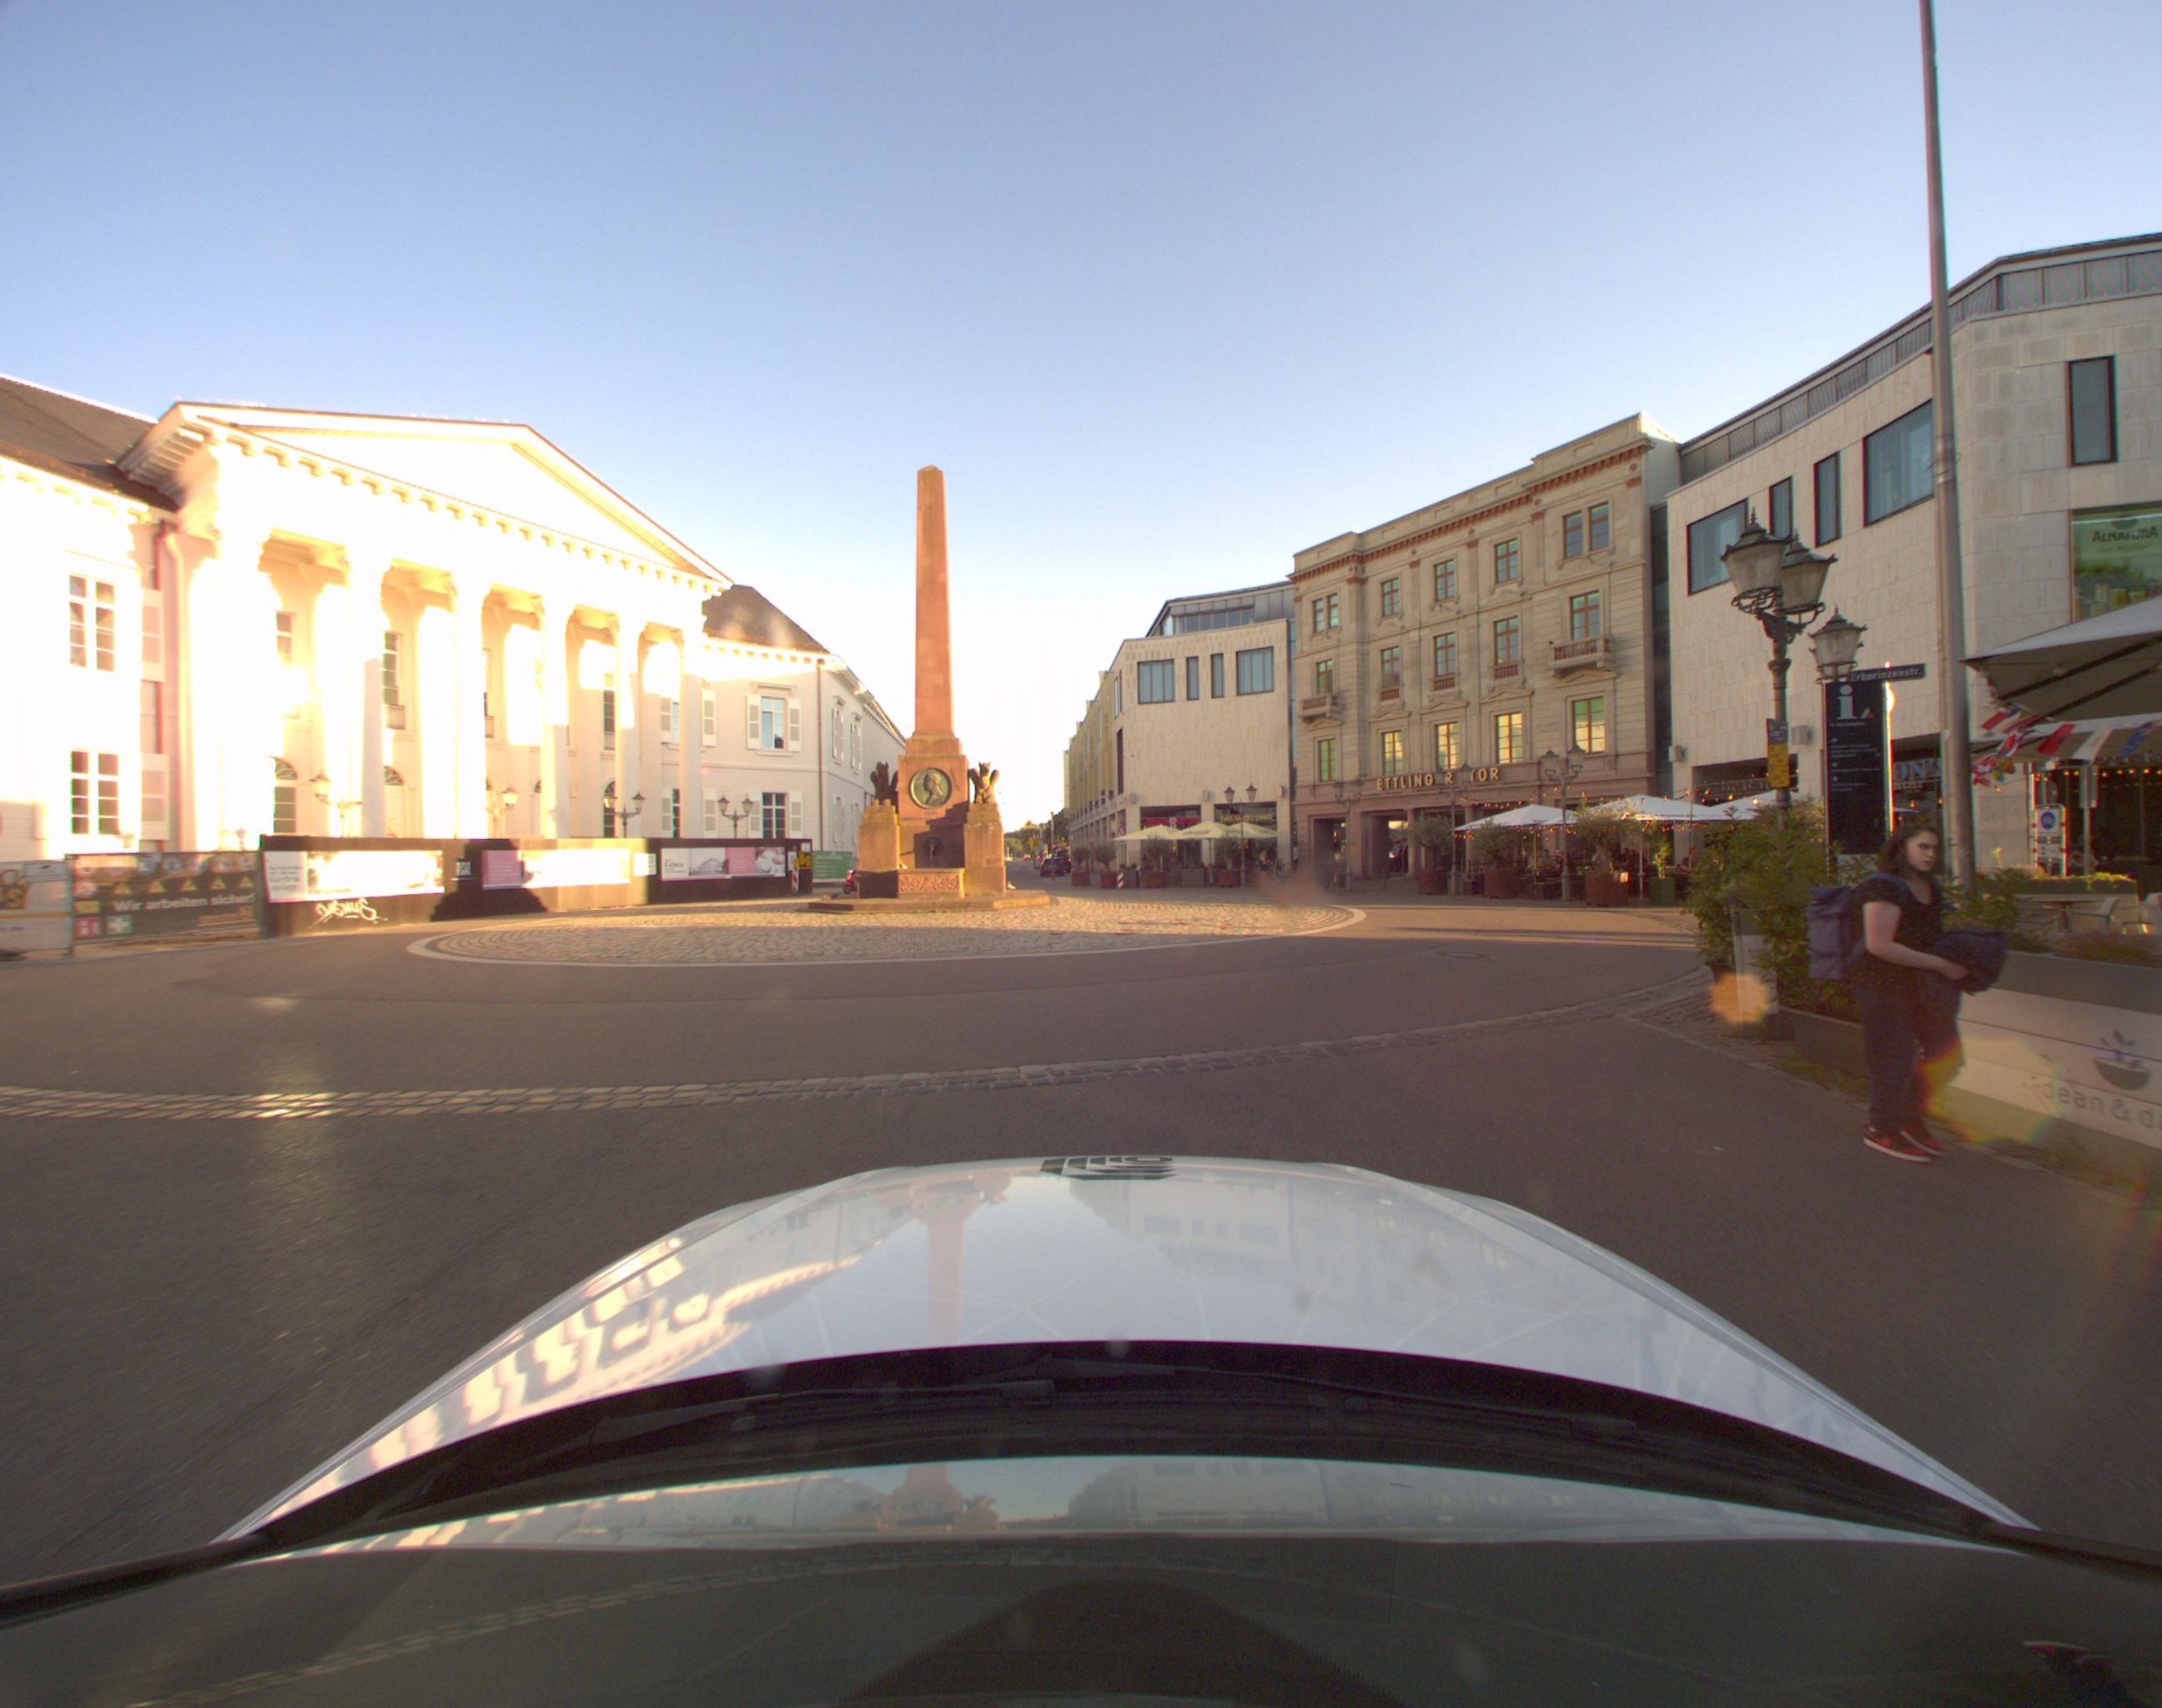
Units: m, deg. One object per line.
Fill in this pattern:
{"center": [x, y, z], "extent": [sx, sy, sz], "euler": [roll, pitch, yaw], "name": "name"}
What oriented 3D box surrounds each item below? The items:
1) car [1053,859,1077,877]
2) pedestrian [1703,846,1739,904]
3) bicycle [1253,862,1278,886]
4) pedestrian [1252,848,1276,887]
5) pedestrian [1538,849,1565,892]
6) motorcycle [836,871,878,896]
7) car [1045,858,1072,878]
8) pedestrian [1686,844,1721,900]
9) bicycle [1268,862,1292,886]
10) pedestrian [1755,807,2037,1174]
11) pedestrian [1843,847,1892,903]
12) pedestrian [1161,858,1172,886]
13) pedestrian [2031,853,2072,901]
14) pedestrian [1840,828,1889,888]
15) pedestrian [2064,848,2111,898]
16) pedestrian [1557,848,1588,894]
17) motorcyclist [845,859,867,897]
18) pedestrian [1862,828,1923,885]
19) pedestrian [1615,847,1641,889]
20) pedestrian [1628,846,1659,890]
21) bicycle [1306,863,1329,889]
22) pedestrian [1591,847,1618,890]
{"center": [-1.477, 1.241, 73.013], "extent": [1.989, 1.464, 3.996], "euler": [-1, 0, -3], "name": "car"}
{"center": [16.394, 0.530, 20.862], "extent": [0.524, 1.478, 0.565], "euler": [-1, 0, 16], "name": "pedestrian"}
{"center": [8.521, 0.903, 37.542], "extent": [0.594, 1.031, 1.656], "euler": [-1, 0, 31], "name": "bicycle"}
{"center": [8.116, 0.592, 36.120], "extent": [0.900, 1.728, 0.850], "euler": [-1, 0, 4], "name": "pedestrian"}
{"center": [16.172, 0.558, 27.991], "extent": [0.542, 1.478, 0.623], "euler": [-1, 0, -3], "name": "pedestrian"}
{"center": [-9.771, 1.277, 35.567], "extent": [0.594, 1.031, 1.766], "euler": [-1, 0, 38], "name": "motorcycle"}
{"center": [-1.805, 1.085, 64.499], "extent": [1.989, 1.464, 3.996], "euler": [-1, 0, -3], "name": "car"}
{"center": [16.563, 0.478, 21.681], "extent": [0.524, 1.478, 0.565], "euler": [-1, 0, 14], "name": "pedestrian"}
{"center": [9.121, 0.906, 37.273], "extent": [0.613, 1.031, 1.656], "euler": [-1, 0, 31], "name": "bicycle"}
{"center": [4.010, 0.614, 4.062], "extent": [0.689, 1.647, 0.694], "euler": [-1, 0, -5], "name": "pedestrian"}
{"center": [18.999, 0.497, 19.675], "extent": [0.543, 1.310, 0.727], "euler": [-1, 0, 15], "name": "pedestrian"}
{"center": [4.400, 0.928, 41.857], "extent": [0.503, 1.398, 0.497], "euler": [-1, 0, 11], "name": "pedestrian"}
{"center": [23.000, 0.545, 19.302], "extent": [0.538, 1.111, 0.546], "euler": [-1, 0, -31], "name": "pedestrian"}
{"center": [22.080, 0.117, 22.966], "extent": [0.690, 1.647, 0.694], "euler": [-1, 0, 7], "name": "pedestrian"}
{"center": [23.810, 0.437, 19.276], "extent": [0.494, 1.156, 0.471], "euler": [-1, 0, 5], "name": "pedestrian"}
{"center": [16.303, 0.552, 27.012], "extent": [0.585, 1.478, 0.683], "euler": [-1, 0, -1], "name": "pedestrian"}
{"center": [-9.806, 1.044, 35.512], "extent": [0.594, 1.652, 0.696], "euler": [-1, 0, 38], "name": "motorcyclist"}
{"center": [23.853, 0.071, 23.961], "extent": [0.923, 1.647, 0.869], "euler": [-1, 0, 7], "name": "pedestrian"}
{"center": [19.378, 0.485, 28.857], "extent": [0.541, 1.478, 0.625], "euler": [-1, 0, 7], "name": "pedestrian"}
{"center": [19.239, 0.485, 27.857], "extent": [0.623, 1.478, 0.621], "euler": [-1, 0, -15], "name": "pedestrian"}
{"center": [9.821, 0.910, 33.830], "extent": [0.501, 1.031, 1.656], "euler": [-1, 0, 31], "name": "bicycle"}
{"center": [18.514, 0.506, 28.808], "extent": [0.587, 1.478, 0.625], "euler": [-1, 0, 7], "name": "pedestrian"}
